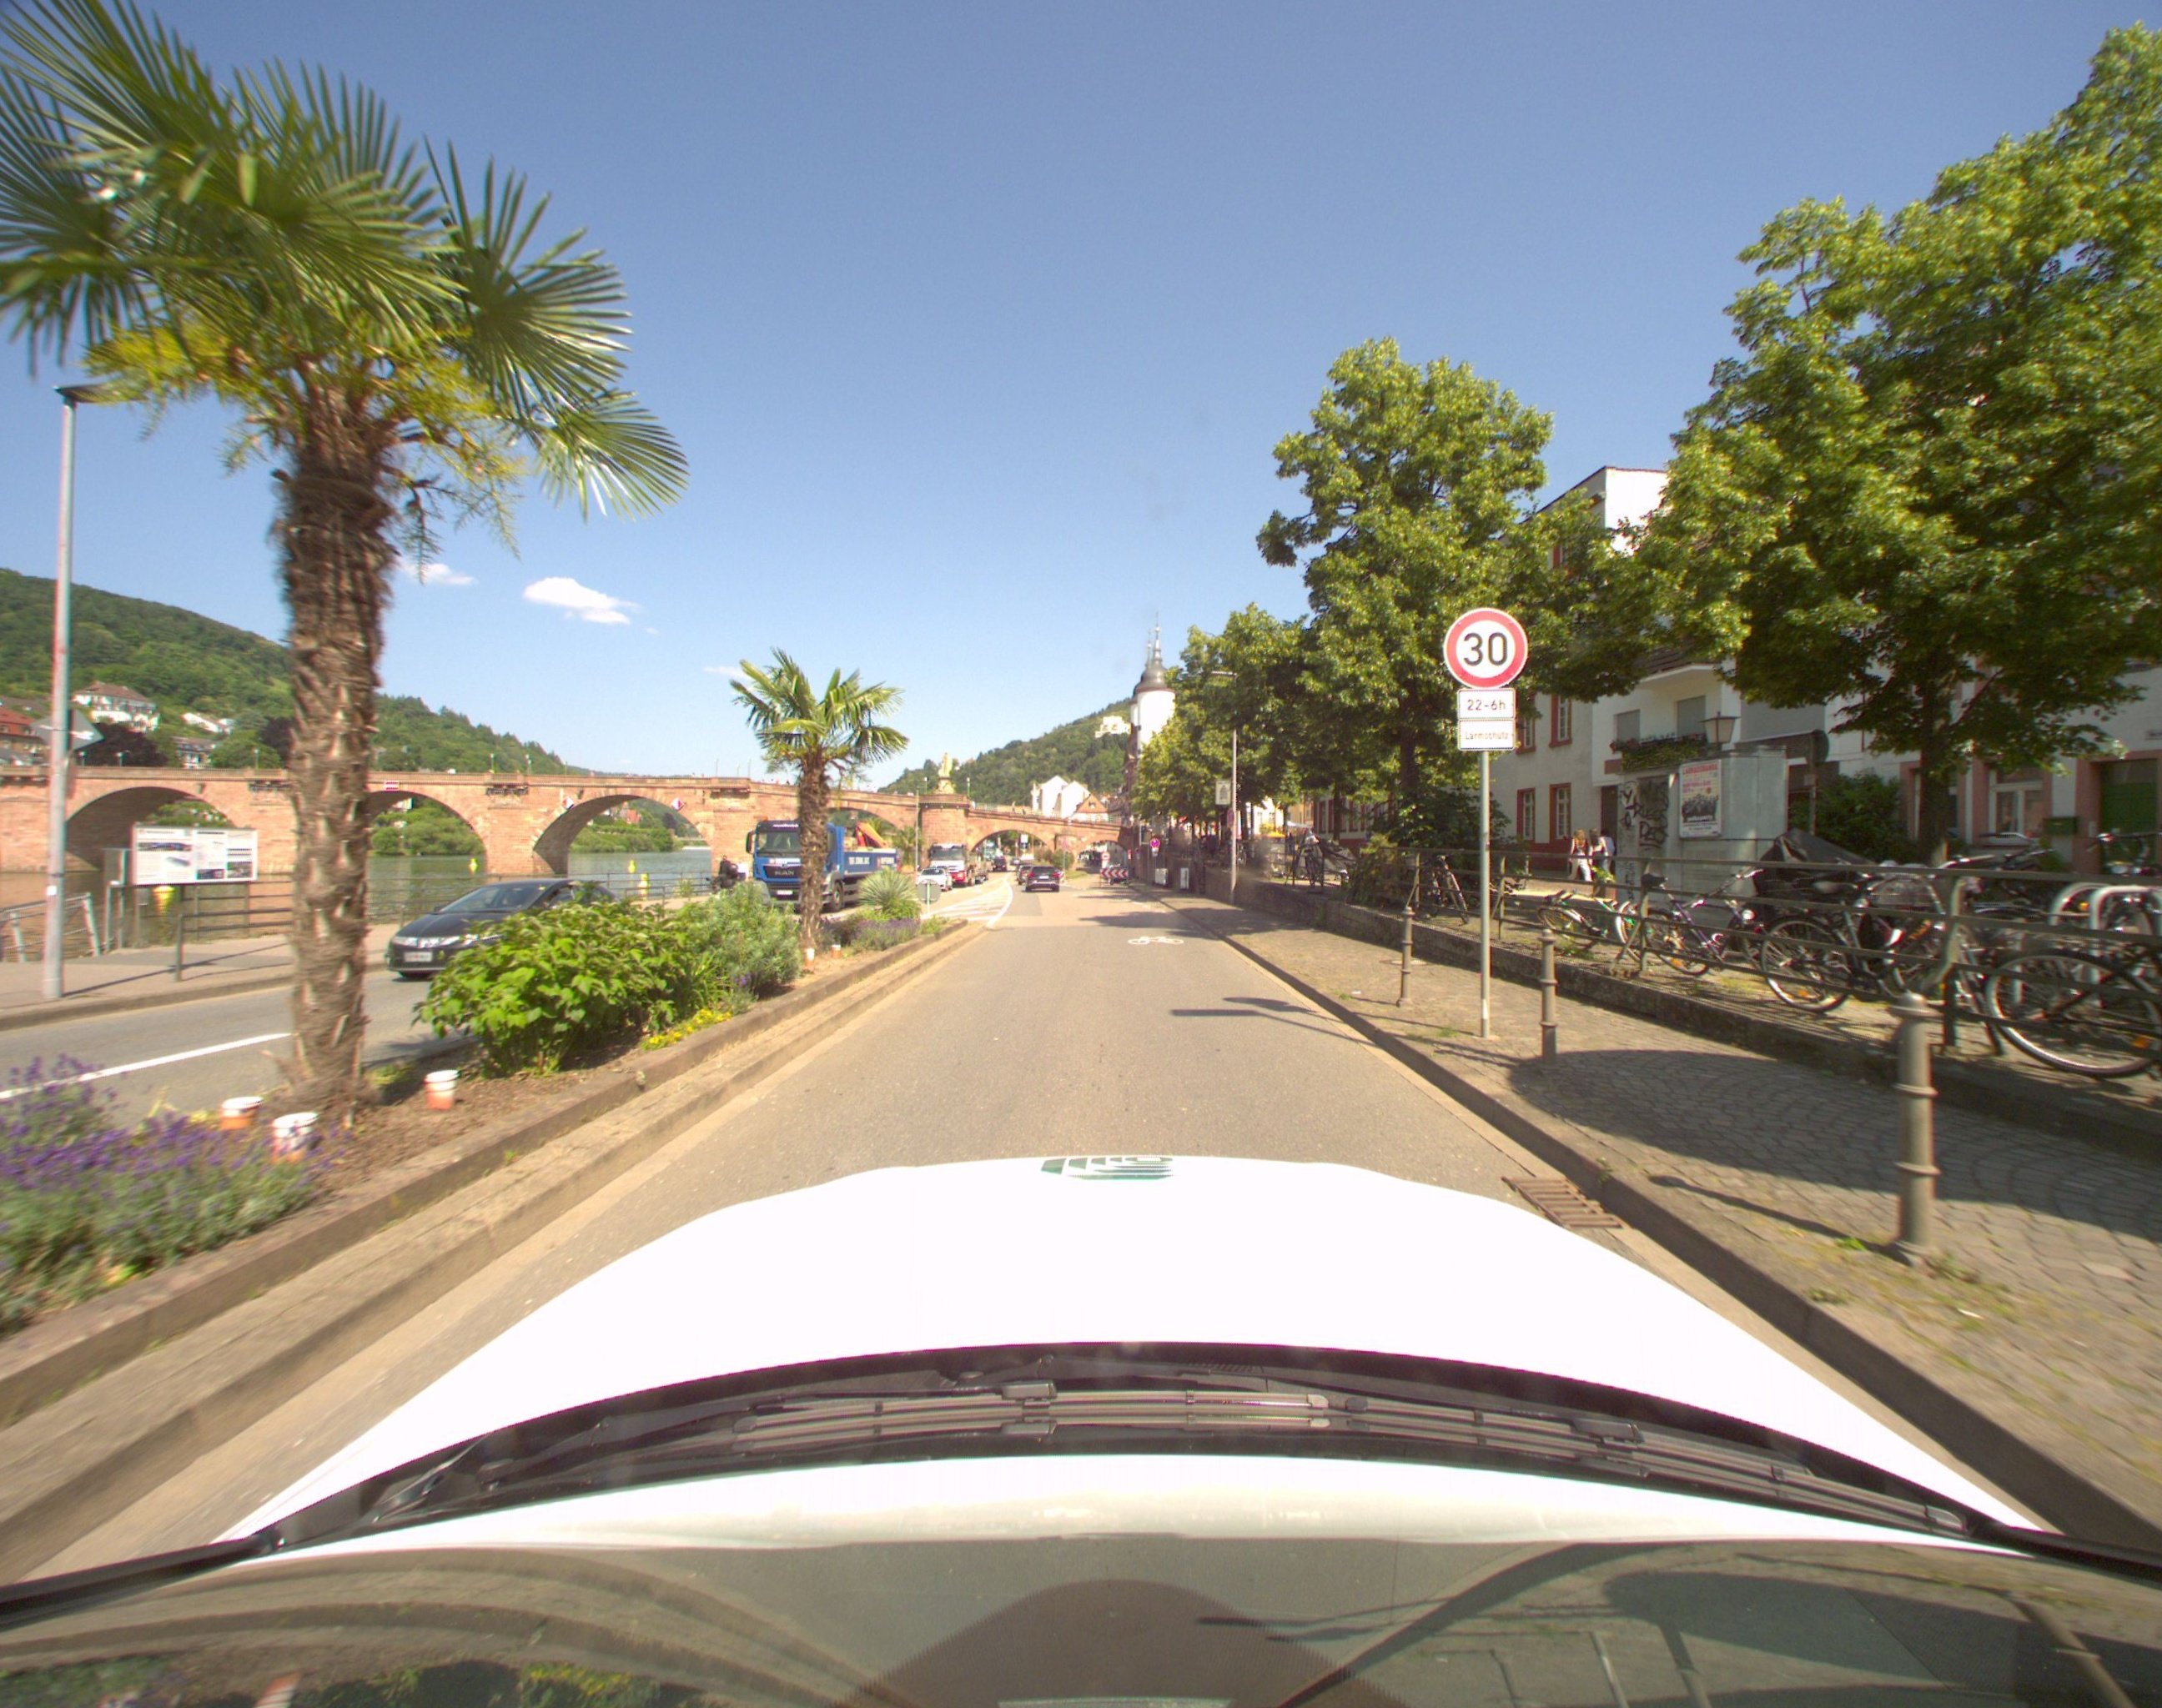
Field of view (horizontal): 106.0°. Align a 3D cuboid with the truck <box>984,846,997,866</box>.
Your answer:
[{"bbox_3d":[-18.387,0.339,165.360,2.520,3.748,6.235,-1,1,-5],"label":"truck"}]

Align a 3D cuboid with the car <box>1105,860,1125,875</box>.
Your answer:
[{"bbox_3d":[3.395,1.307,81.581,1.707,1.457,3.544,0,-1,-3],"label":"car"}]

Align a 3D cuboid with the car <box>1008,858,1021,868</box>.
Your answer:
[{"bbox_3d":[-11.630,1.541,142.717,1.856,1.662,3.985,-1,0,-10],"label":"car"}]

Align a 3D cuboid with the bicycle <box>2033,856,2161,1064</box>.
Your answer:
[{"bbox_3d":[6.558,0.548,4.576,2.017,1.092,0.338,-2,0,-1],"label":"bicycle"}]

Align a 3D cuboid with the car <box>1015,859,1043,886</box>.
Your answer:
[{"bbox_3d":[-3.994,1.402,63.020,1.988,2.014,3.997,0,-1,-2],"label":"car"}]

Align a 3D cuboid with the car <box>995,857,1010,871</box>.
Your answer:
[{"bbox_3d":[-10.881,1.431,113.117,1.870,1.827,4.539,-1,0,-3],"label":"car"}]

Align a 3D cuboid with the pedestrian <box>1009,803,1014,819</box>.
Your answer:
[{"bbox_3d":[-9.143,-5.626,106.758,0.622,2.014,0.694,0,-1,-4],"label":"pedestrian"}]

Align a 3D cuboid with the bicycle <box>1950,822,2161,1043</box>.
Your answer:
[{"bbox_3d":[6.612,0.433,4.974,2.149,1.262,0.421,-2,-1,-1],"label":"bicycle"}]

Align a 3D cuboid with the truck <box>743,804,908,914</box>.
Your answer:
[{"bbox_3d":[-9.306,0.207,31.437,2.633,3.476,11.108,0,0,1],"label":"truck"}]

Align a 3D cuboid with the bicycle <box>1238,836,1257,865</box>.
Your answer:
[{"bbox_3d":[6.878,-0.151,33.696,0.381,1.140,1.933,0,0,-1],"label":"bicycle"}]

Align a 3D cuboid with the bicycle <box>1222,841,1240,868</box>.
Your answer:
[{"bbox_3d":[5.612,0.010,30.516,0.297,1.004,1.859,0,0,-1],"label":"bicycle"}]

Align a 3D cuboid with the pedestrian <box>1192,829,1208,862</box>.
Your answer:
[{"bbox_3d":[6.096,-0.431,41.816,0.716,1.721,0.573,0,-1,-1],"label":"pedestrian"}]

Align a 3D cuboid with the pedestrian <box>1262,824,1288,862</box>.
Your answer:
[{"bbox_3d":[6.665,-0.372,27.944,0.693,1.265,0.668,0,-1,-5],"label":"pedestrian"}]

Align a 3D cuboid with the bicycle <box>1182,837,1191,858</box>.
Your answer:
[{"bbox_3d":[5.711,-0.346,44.175,0.408,1.106,1.736,-1,-1,4],"label":"bicycle"}]

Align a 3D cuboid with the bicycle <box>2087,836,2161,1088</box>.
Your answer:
[{"bbox_3d":[6.496,0.508,4.144,2.149,1.262,0.476,-2,-1,-1],"label":"bicycle"}]

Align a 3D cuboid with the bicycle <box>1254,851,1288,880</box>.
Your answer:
[{"bbox_3d":[5.386,0.314,23.184,0.349,0.784,1.915,0,0,-5],"label":"bicycle"}]

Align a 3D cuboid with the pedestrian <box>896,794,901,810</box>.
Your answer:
[{"bbox_3d":[-23.805,-6.817,106.036,0.624,2.014,0.692,0,-1,-11],"label":"pedestrian"}]

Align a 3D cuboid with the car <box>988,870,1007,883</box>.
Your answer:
[{"bbox_3d":[-8.312,2.245,80.962,1.667,1.194,3.624,-1,-1,-3],"label":"car"}]

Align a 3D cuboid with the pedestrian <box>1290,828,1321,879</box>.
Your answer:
[{"bbox_3d":[6.342,-0.019,23.064,0.665,1.415,0.696,0,-1,-2],"label":"pedestrian"}]

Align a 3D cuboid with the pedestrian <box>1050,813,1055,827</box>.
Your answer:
[{"bbox_3d":[-3.904,-4.694,112.672,0.682,2.014,0.585,0,-1,-4],"label":"pedestrian"}]

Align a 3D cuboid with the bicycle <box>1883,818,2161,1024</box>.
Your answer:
[{"bbox_3d":[6.674,0.412,5.439,2.149,1.262,0.476,-2,-1,-1],"label":"bicycle"}]

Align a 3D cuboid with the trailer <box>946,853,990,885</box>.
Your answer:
[{"bbox_3d":[-9.396,1.272,68.372,2.689,2.531,6.944,-1,-1,-1],"label":"trailer"}]

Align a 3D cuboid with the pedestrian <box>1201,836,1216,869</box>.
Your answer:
[{"bbox_3d":[6.638,-0.092,42.448,0.716,1.721,0.573,0,-1,-1],"label":"pedestrian"}]

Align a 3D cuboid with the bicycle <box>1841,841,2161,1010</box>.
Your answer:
[{"bbox_3d":[6.771,0.502,5.958,1.956,1.112,0.476,-2,-1,-1],"label":"bicycle"}]

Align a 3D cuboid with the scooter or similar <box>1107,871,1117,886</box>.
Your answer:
[{"bbox_3d":[2.243,1.772,58.993,0.528,1.090,1.442,-1,-1,9],"label":"scooter or similar"}]

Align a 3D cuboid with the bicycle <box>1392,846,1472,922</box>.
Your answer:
[{"bbox_3d":[5.322,0.412,12.478,0.300,1.049,2.163,-2,1,1],"label":"bicycle"}]

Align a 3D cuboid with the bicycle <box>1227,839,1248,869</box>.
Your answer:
[{"bbox_3d":[5.435,-0.006,28.375,0.297,1.004,1.940,0,0,-1],"label":"bicycle"}]

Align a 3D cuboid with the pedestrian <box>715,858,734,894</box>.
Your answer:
[{"bbox_3d":[-15.550,0.963,35.526,0.585,1.557,0.414,2,-1,1],"label":"pedestrian"}]

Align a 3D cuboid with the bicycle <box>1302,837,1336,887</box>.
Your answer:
[{"bbox_3d":[5.503,0.183,18.891,0.342,1.112,1.921,0,-1,4],"label":"bicycle"}]

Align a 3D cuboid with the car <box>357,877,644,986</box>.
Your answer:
[{"bbox_3d":[-9.134,1.133,13.311,1.651,1.436,4.082,0,-1,2],"label":"car"}]

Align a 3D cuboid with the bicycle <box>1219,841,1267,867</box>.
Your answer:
[{"bbox_3d":[6.362,0.016,32.000,1.850,1.004,0.298,0,0,-4],"label":"bicycle"}]

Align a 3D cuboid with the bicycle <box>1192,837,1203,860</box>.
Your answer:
[{"bbox_3d":[5.706,-0.259,40.022,0.408,1.106,1.736,0,-1,4],"label":"bicycle"}]

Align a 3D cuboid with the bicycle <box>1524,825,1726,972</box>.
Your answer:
[{"bbox_3d":[5.349,0.398,8.203,0.474,1.262,2.160,-2,-1,-2],"label":"bicycle"}]

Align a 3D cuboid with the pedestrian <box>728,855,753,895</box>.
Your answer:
[{"bbox_3d":[-14.789,0.886,35.419,0.709,1.706,0.846,0,0,1],"label":"pedestrian"}]

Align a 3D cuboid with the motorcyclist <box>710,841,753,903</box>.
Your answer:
[{"bbox_3d":[-8.825,0.444,20.578,0.699,1.527,0.861,0,-1,1],"label":"motorcyclist"}]

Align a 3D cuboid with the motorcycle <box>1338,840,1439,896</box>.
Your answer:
[{"bbox_3d":[6.390,0.286,16.947,1.914,1.098,0.573,-1,-1,-9],"label":"motorcycle"}]

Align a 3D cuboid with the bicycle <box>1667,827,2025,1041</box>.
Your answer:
[{"bbox_3d":[5.347,0.484,5.944,0.474,1.262,2.160,-2,-1,-2],"label":"bicycle"}]

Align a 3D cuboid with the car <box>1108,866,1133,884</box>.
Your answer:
[{"bbox_3d":[3.190,1.690,67.235,1.837,1.450,4.533,0,-1,0],"label":"car"}]

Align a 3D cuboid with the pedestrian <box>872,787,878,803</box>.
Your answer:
[{"bbox_3d":[-26.742,-7.694,105.626,0.624,2.014,0.692,0,-1,-11],"label":"pedestrian"}]

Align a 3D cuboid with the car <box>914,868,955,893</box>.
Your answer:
[{"bbox_3d":[-8.859,1.556,49.622,1.772,1.444,3.996,0,-1,0],"label":"car"}]

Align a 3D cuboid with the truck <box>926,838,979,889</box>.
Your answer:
[{"bbox_3d":[-9.316,0.718,60.044,2.634,3.457,7.868,-1,-1,-1],"label":"truck"}]

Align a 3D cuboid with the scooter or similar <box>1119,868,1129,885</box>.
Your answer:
[{"bbox_3d":[3.151,1.641,59.475,0.528,1.230,1.276,-1,-1,13],"label":"scooter or similar"}]

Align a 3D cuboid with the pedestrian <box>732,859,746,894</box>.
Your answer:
[{"bbox_3d":[-14.848,0.986,35.396,0.349,1.485,0.414,2,-1,1],"label":"pedestrian"}]

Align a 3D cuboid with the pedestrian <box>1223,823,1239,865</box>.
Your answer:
[{"bbox_3d":[7.973,-0.536,43.231,0.716,2.189,0.711,0,-1,-1],"label":"pedestrian"}]

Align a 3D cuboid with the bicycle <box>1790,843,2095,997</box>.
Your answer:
[{"bbox_3d":[6.759,0.503,6.426,1.943,1.100,0.422,-2,-1,-1],"label":"bicycle"}]

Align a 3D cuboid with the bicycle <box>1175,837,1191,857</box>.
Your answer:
[{"bbox_3d":[5.772,-0.365,46.153,0.409,1.106,1.730,-1,-1,-8],"label":"bicycle"}]

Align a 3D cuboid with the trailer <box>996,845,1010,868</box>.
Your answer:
[{"bbox_3d":[-11.388,0.387,118.443,1.737,3.320,3.381,-1,0,-2],"label":"trailer"}]

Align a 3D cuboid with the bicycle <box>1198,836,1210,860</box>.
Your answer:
[{"bbox_3d":[5.796,-0.274,38.332,0.408,1.106,1.926,0,-1,4],"label":"bicycle"}]

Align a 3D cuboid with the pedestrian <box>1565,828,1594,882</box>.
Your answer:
[{"bbox_3d":[14.530,0.036,23.737,0.466,1.545,0.608,1,-1,1],"label":"pedestrian"}]

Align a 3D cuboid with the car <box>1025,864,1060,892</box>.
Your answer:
[{"bbox_3d":[-2.212,1.329,46.071,1.853,1.524,3.994,0,-1,-4],"label":"car"}]

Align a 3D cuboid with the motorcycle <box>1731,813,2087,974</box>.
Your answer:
[{"bbox_3d":[7.369,0.355,7.420,2.135,1.313,0.653,-2,-1,28],"label":"motorcycle"}]

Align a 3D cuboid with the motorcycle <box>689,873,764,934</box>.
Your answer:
[{"bbox_3d":[-8.828,1.189,20.419,0.723,1.387,2.512,0,-1,2],"label":"motorcycle"}]
